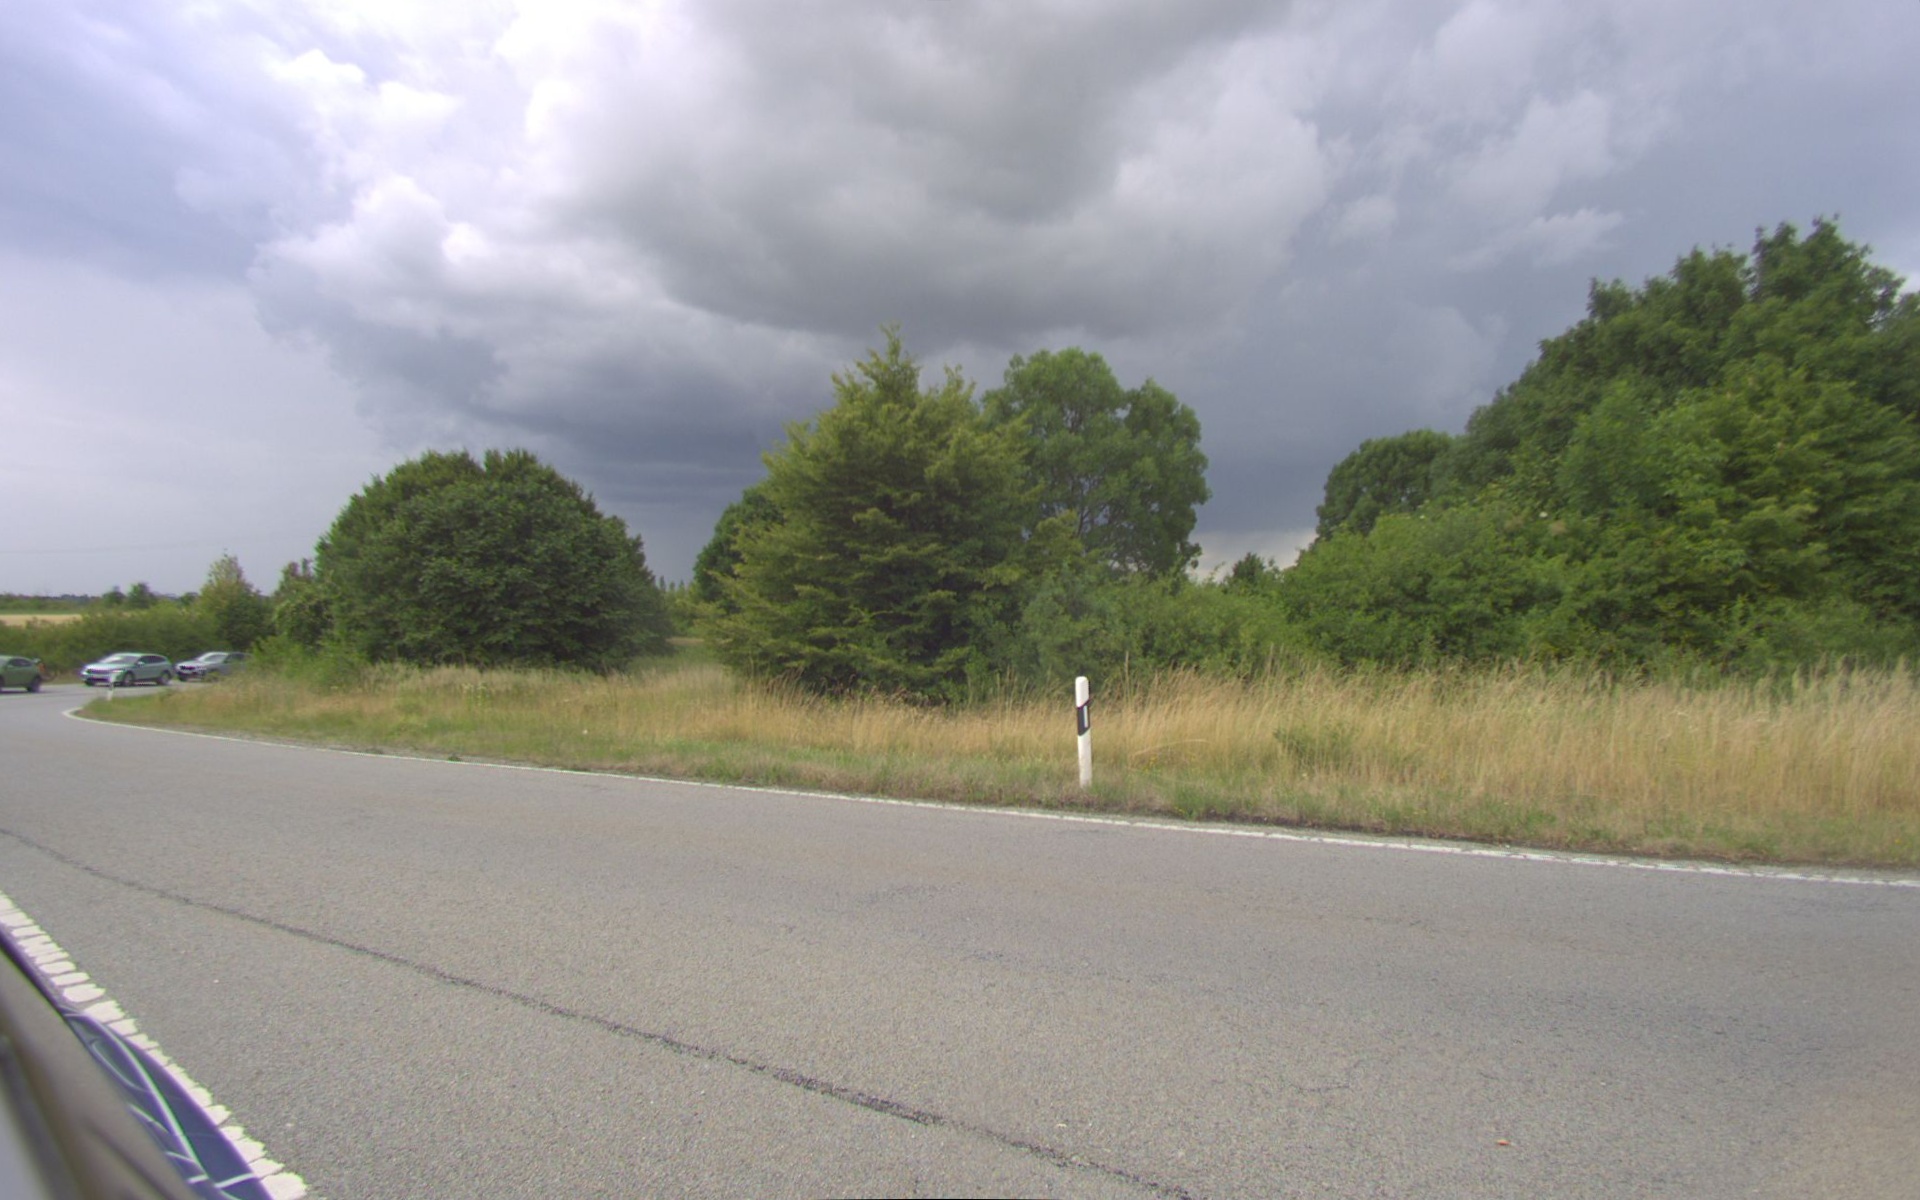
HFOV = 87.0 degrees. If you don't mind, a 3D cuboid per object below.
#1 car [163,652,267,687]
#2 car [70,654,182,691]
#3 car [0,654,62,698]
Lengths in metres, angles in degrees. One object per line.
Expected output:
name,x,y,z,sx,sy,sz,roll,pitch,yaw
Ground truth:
car,-42.641,3.948,58.118,1.973,1.732,5.205,2,-2,2
car,-41.907,3.631,51.043,1.967,1.733,5.219,2,-4,-10
car,-39.483,3.083,41.296,1.967,1.733,5.221,2,-4,-14
